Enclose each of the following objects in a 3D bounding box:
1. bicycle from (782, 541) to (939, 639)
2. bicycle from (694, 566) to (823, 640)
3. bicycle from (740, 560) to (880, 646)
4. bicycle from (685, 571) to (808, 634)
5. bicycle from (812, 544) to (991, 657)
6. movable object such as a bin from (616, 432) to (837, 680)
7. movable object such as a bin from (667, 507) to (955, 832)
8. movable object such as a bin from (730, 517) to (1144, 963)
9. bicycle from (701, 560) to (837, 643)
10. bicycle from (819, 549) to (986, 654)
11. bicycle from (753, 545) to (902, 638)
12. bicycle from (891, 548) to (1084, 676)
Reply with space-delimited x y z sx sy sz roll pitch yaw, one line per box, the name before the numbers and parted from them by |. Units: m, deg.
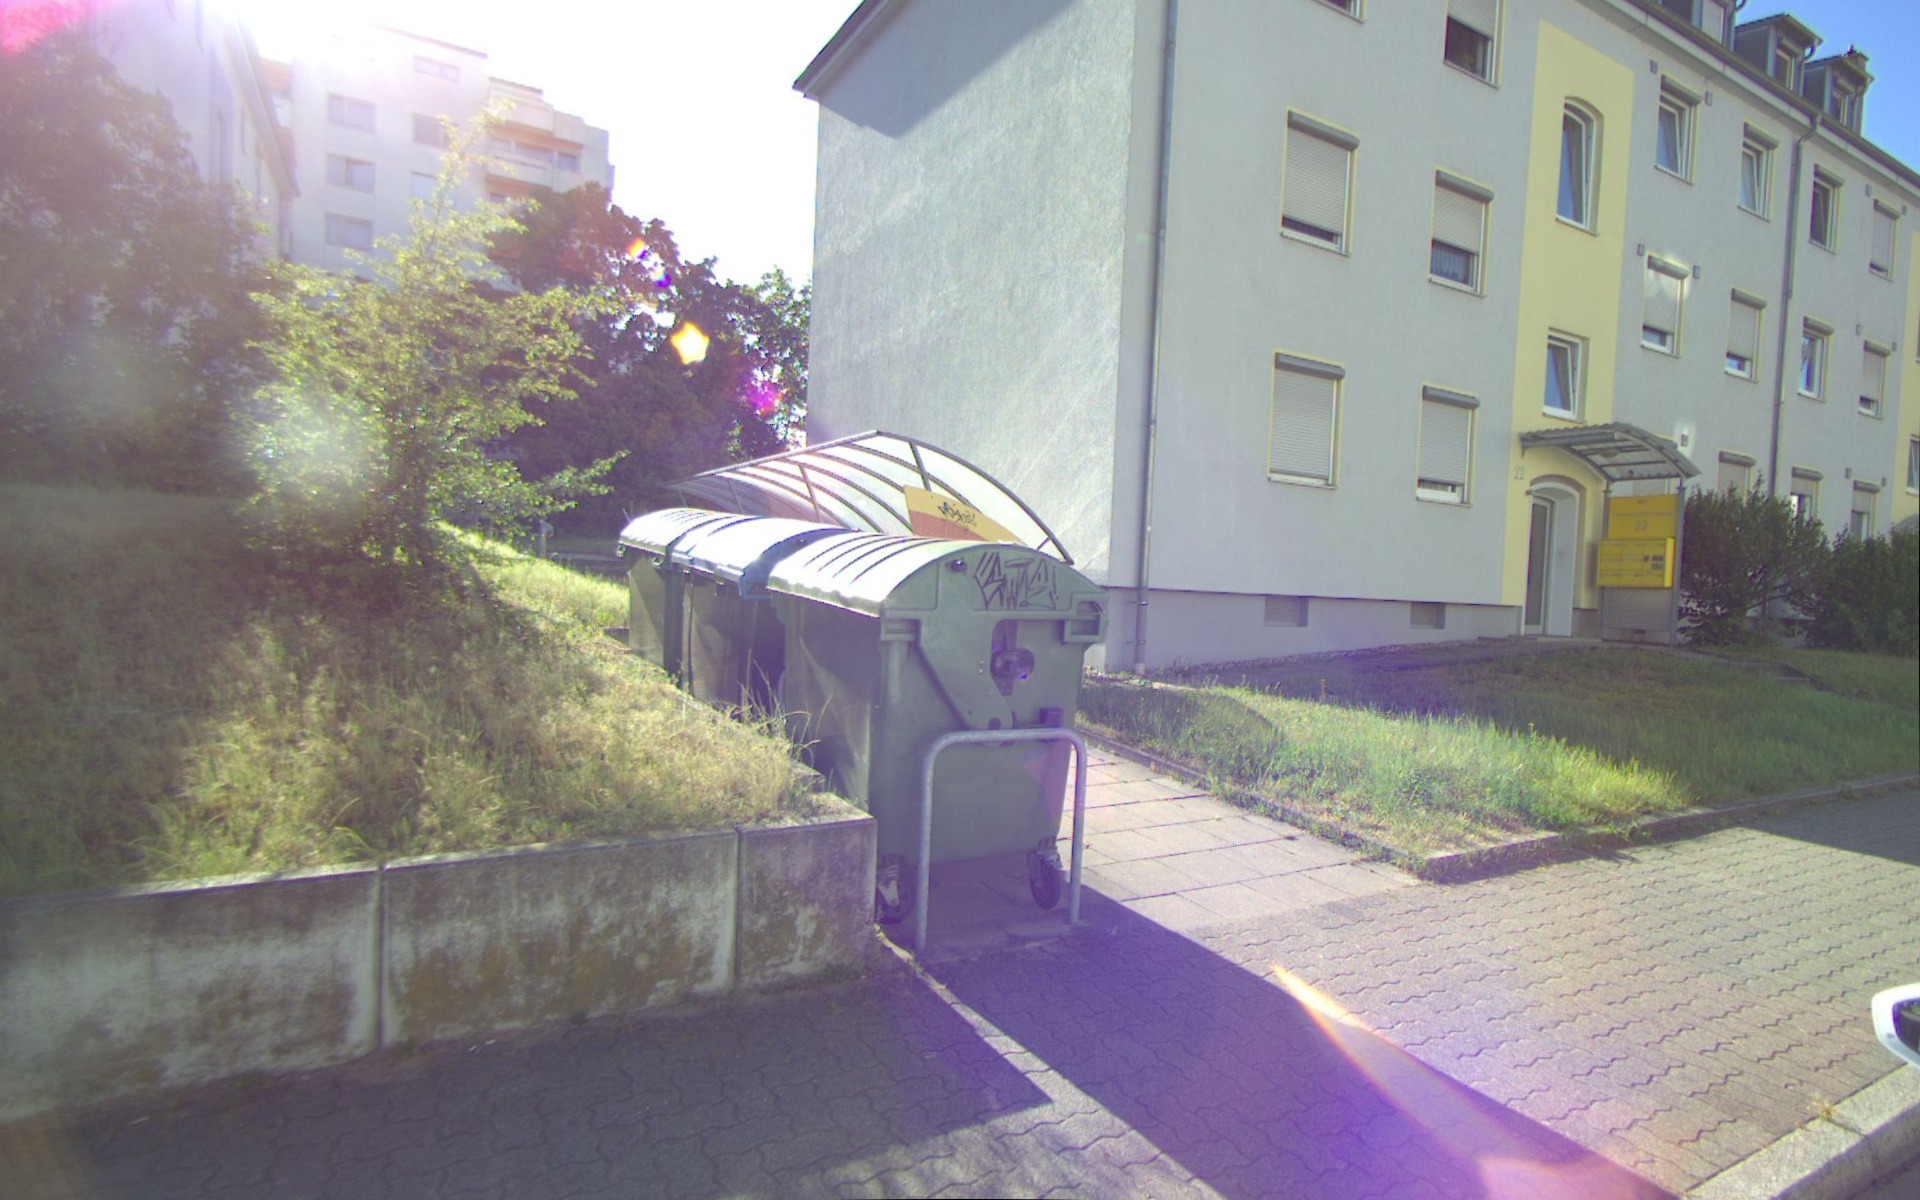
bicycle | -1.322 -0.121 13.527 1.986 1.235 0.637 2 2 -31
bicycle | -3.349 0.056 16.761 1.986 1.146 0.637 2 2 -31
bicycle | -2.283 0.052 15.351 1.986 1.235 0.637 2 2 -31
bicycle | -3.743 0.052 17.661 1.986 1.020 0.637 2 2 -31
bicycle | -0.667 0.013 11.762 1.986 1.235 0.637 2 2 -31
movable object such as a bin | -1.626 -0.317 6.821 1.060 1.473 1.353 2 6 -30
movable object such as a bin | -0.870 0.292 5.500 1.070 1.479 1.348 2 6 -30
movable object such as a bin | -0.163 0.451 4.235 1.184 1.479 1.309 2 5 -30
bicycle | -3.021 0.031 15.956 1.986 1.235 0.637 2 2 -31
bicycle | -0.712 0.030 12.697 1.986 1.235 0.674 2 2 -31
bicycle | -1.873 -0.107 14.328 1.986 1.235 0.637 2 2 -31
bicycle | 0.315 0.127 10.732 1.986 1.267 0.637 2 2 -31
